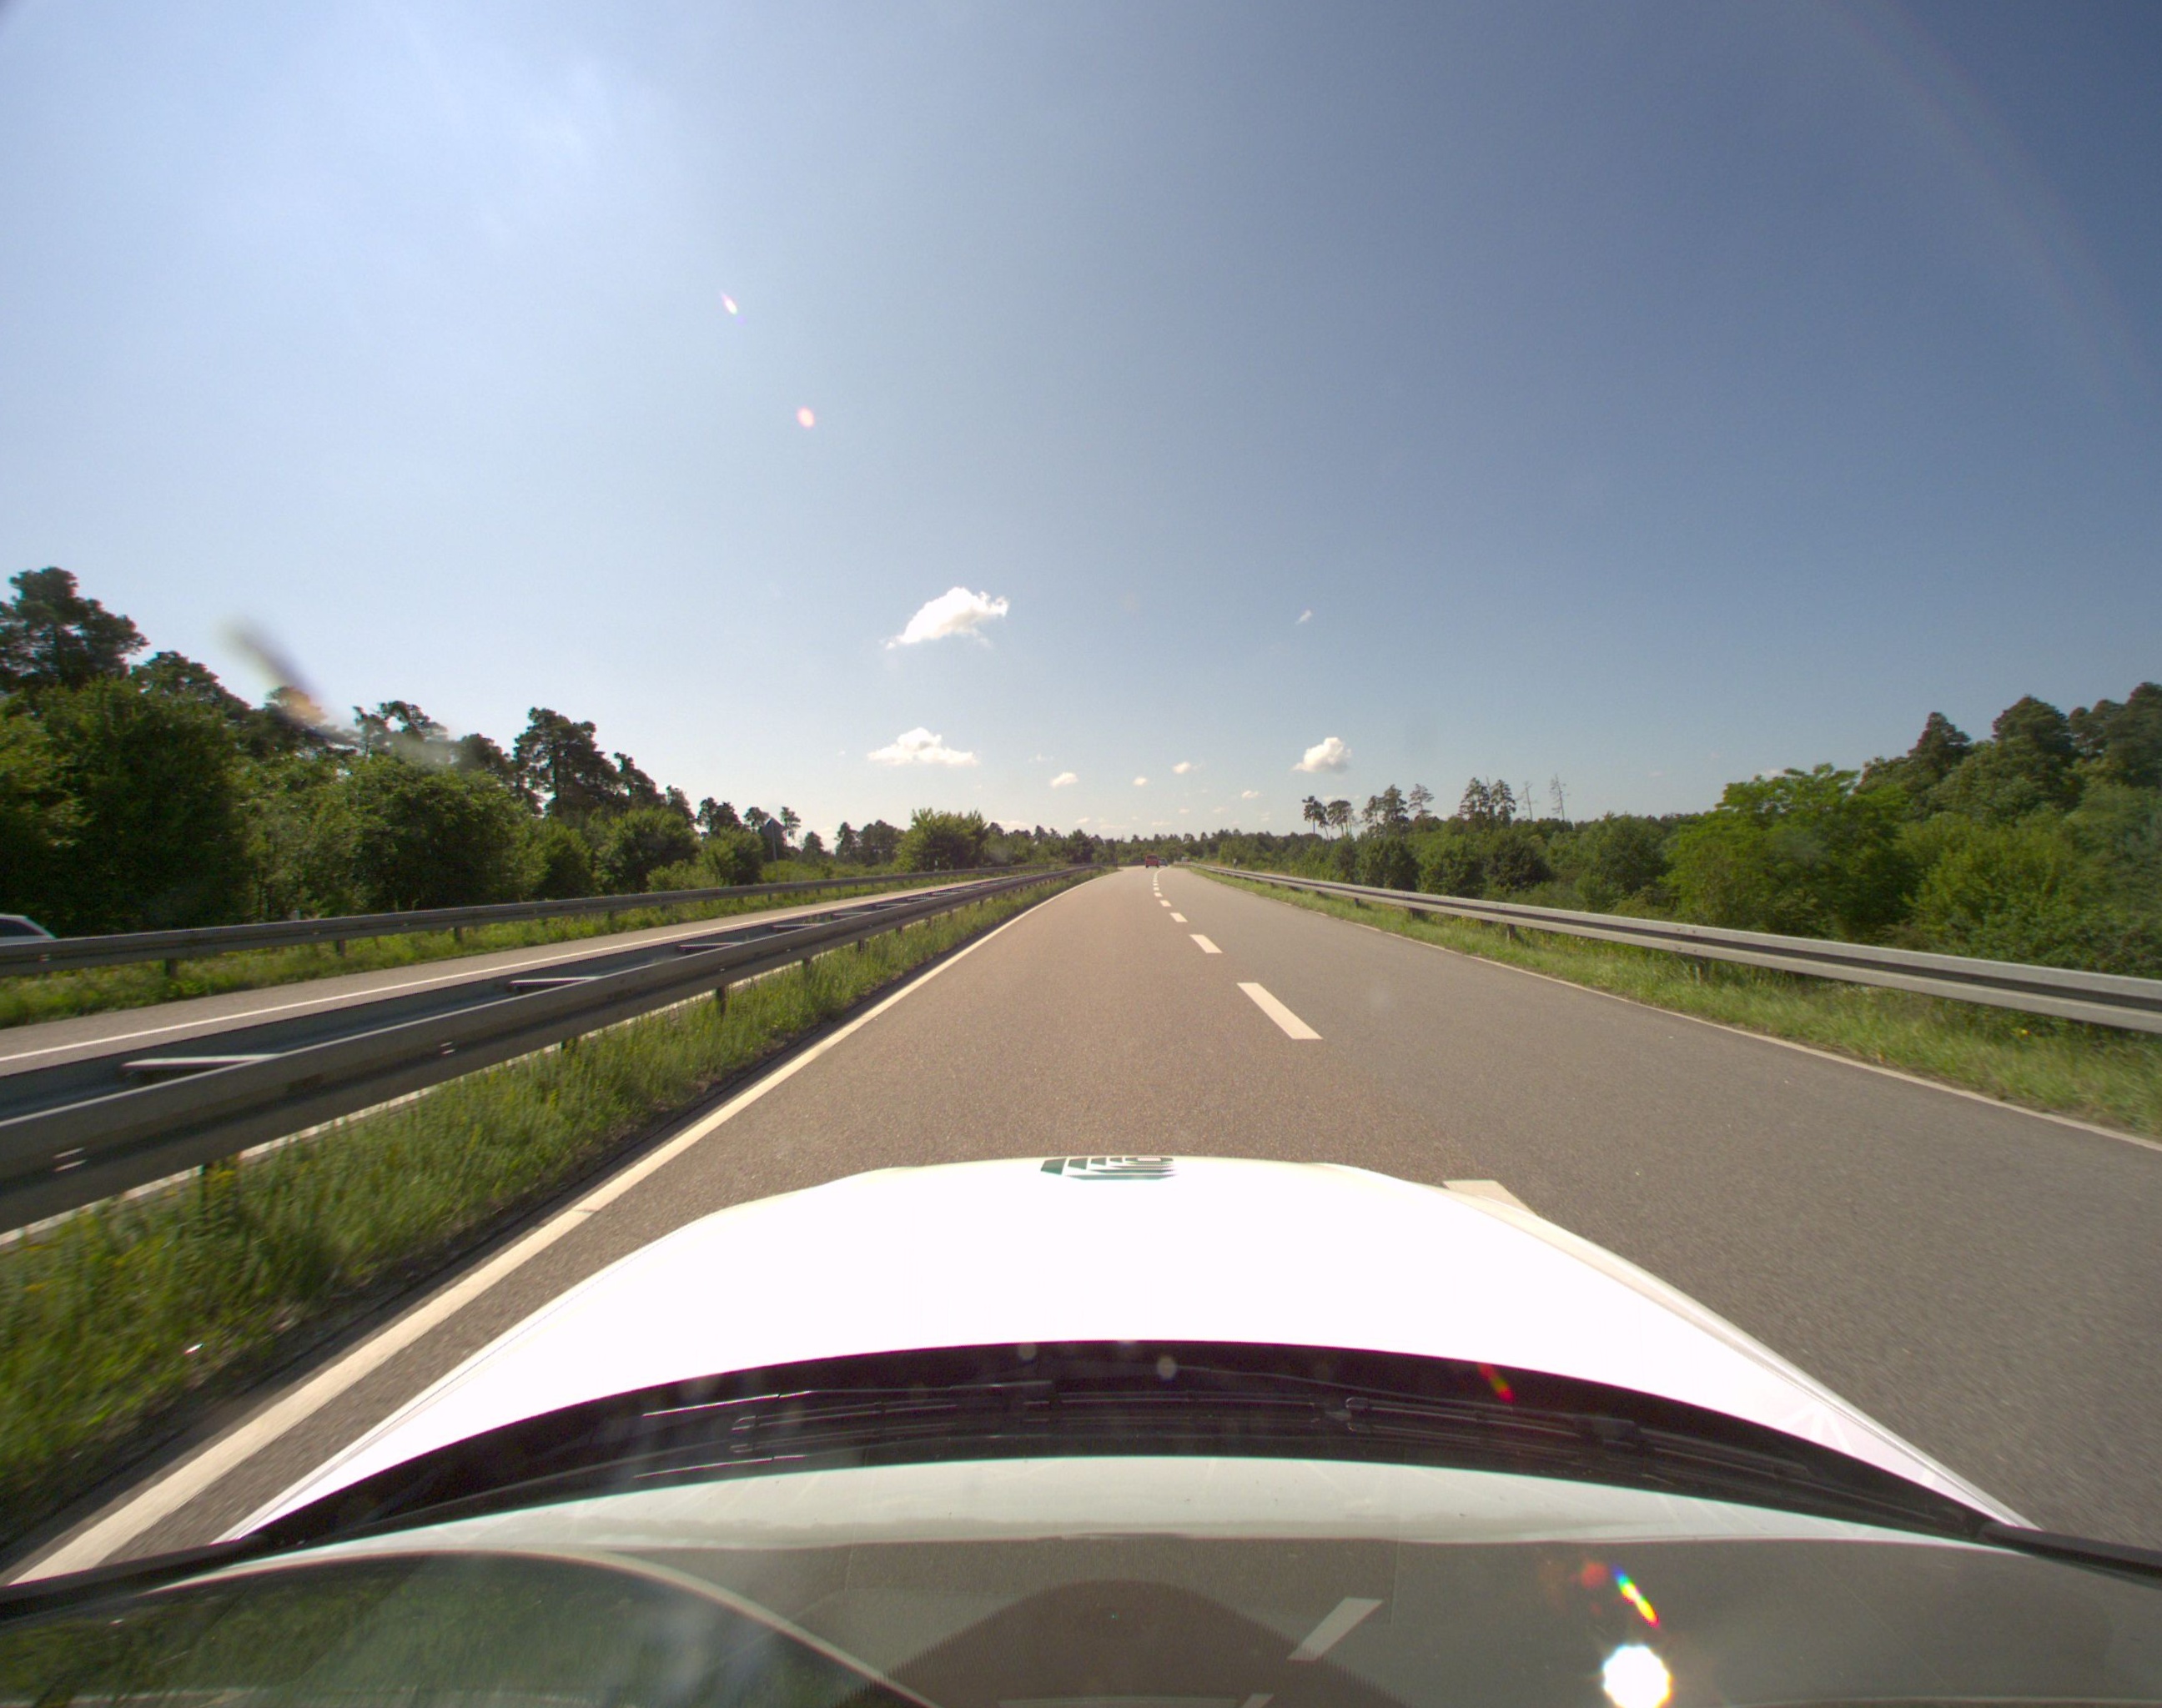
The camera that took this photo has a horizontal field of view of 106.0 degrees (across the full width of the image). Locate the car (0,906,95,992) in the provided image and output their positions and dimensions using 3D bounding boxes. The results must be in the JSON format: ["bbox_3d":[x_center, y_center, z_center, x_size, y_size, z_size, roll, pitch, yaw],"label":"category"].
[{"bbox_3d":[-19.762,1.727,13.211,1.945,1.414,4.822,-2,0,-7],"label":"car"}]

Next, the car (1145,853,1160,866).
[{"bbox_3d":[10.677,0.845,121.916,2.066,1.993,5.121,0,-1,7],"label":"car"}]

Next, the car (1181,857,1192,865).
[{"bbox_3d":[25.478,1.647,196.326,2.170,1.955,5.823,0,-1,12],"label":"car"}]

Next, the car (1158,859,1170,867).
[{"bbox_3d":[14.600,1.583,143.391,1.996,1.494,4.246,0,-1,7],"label":"car"}]
